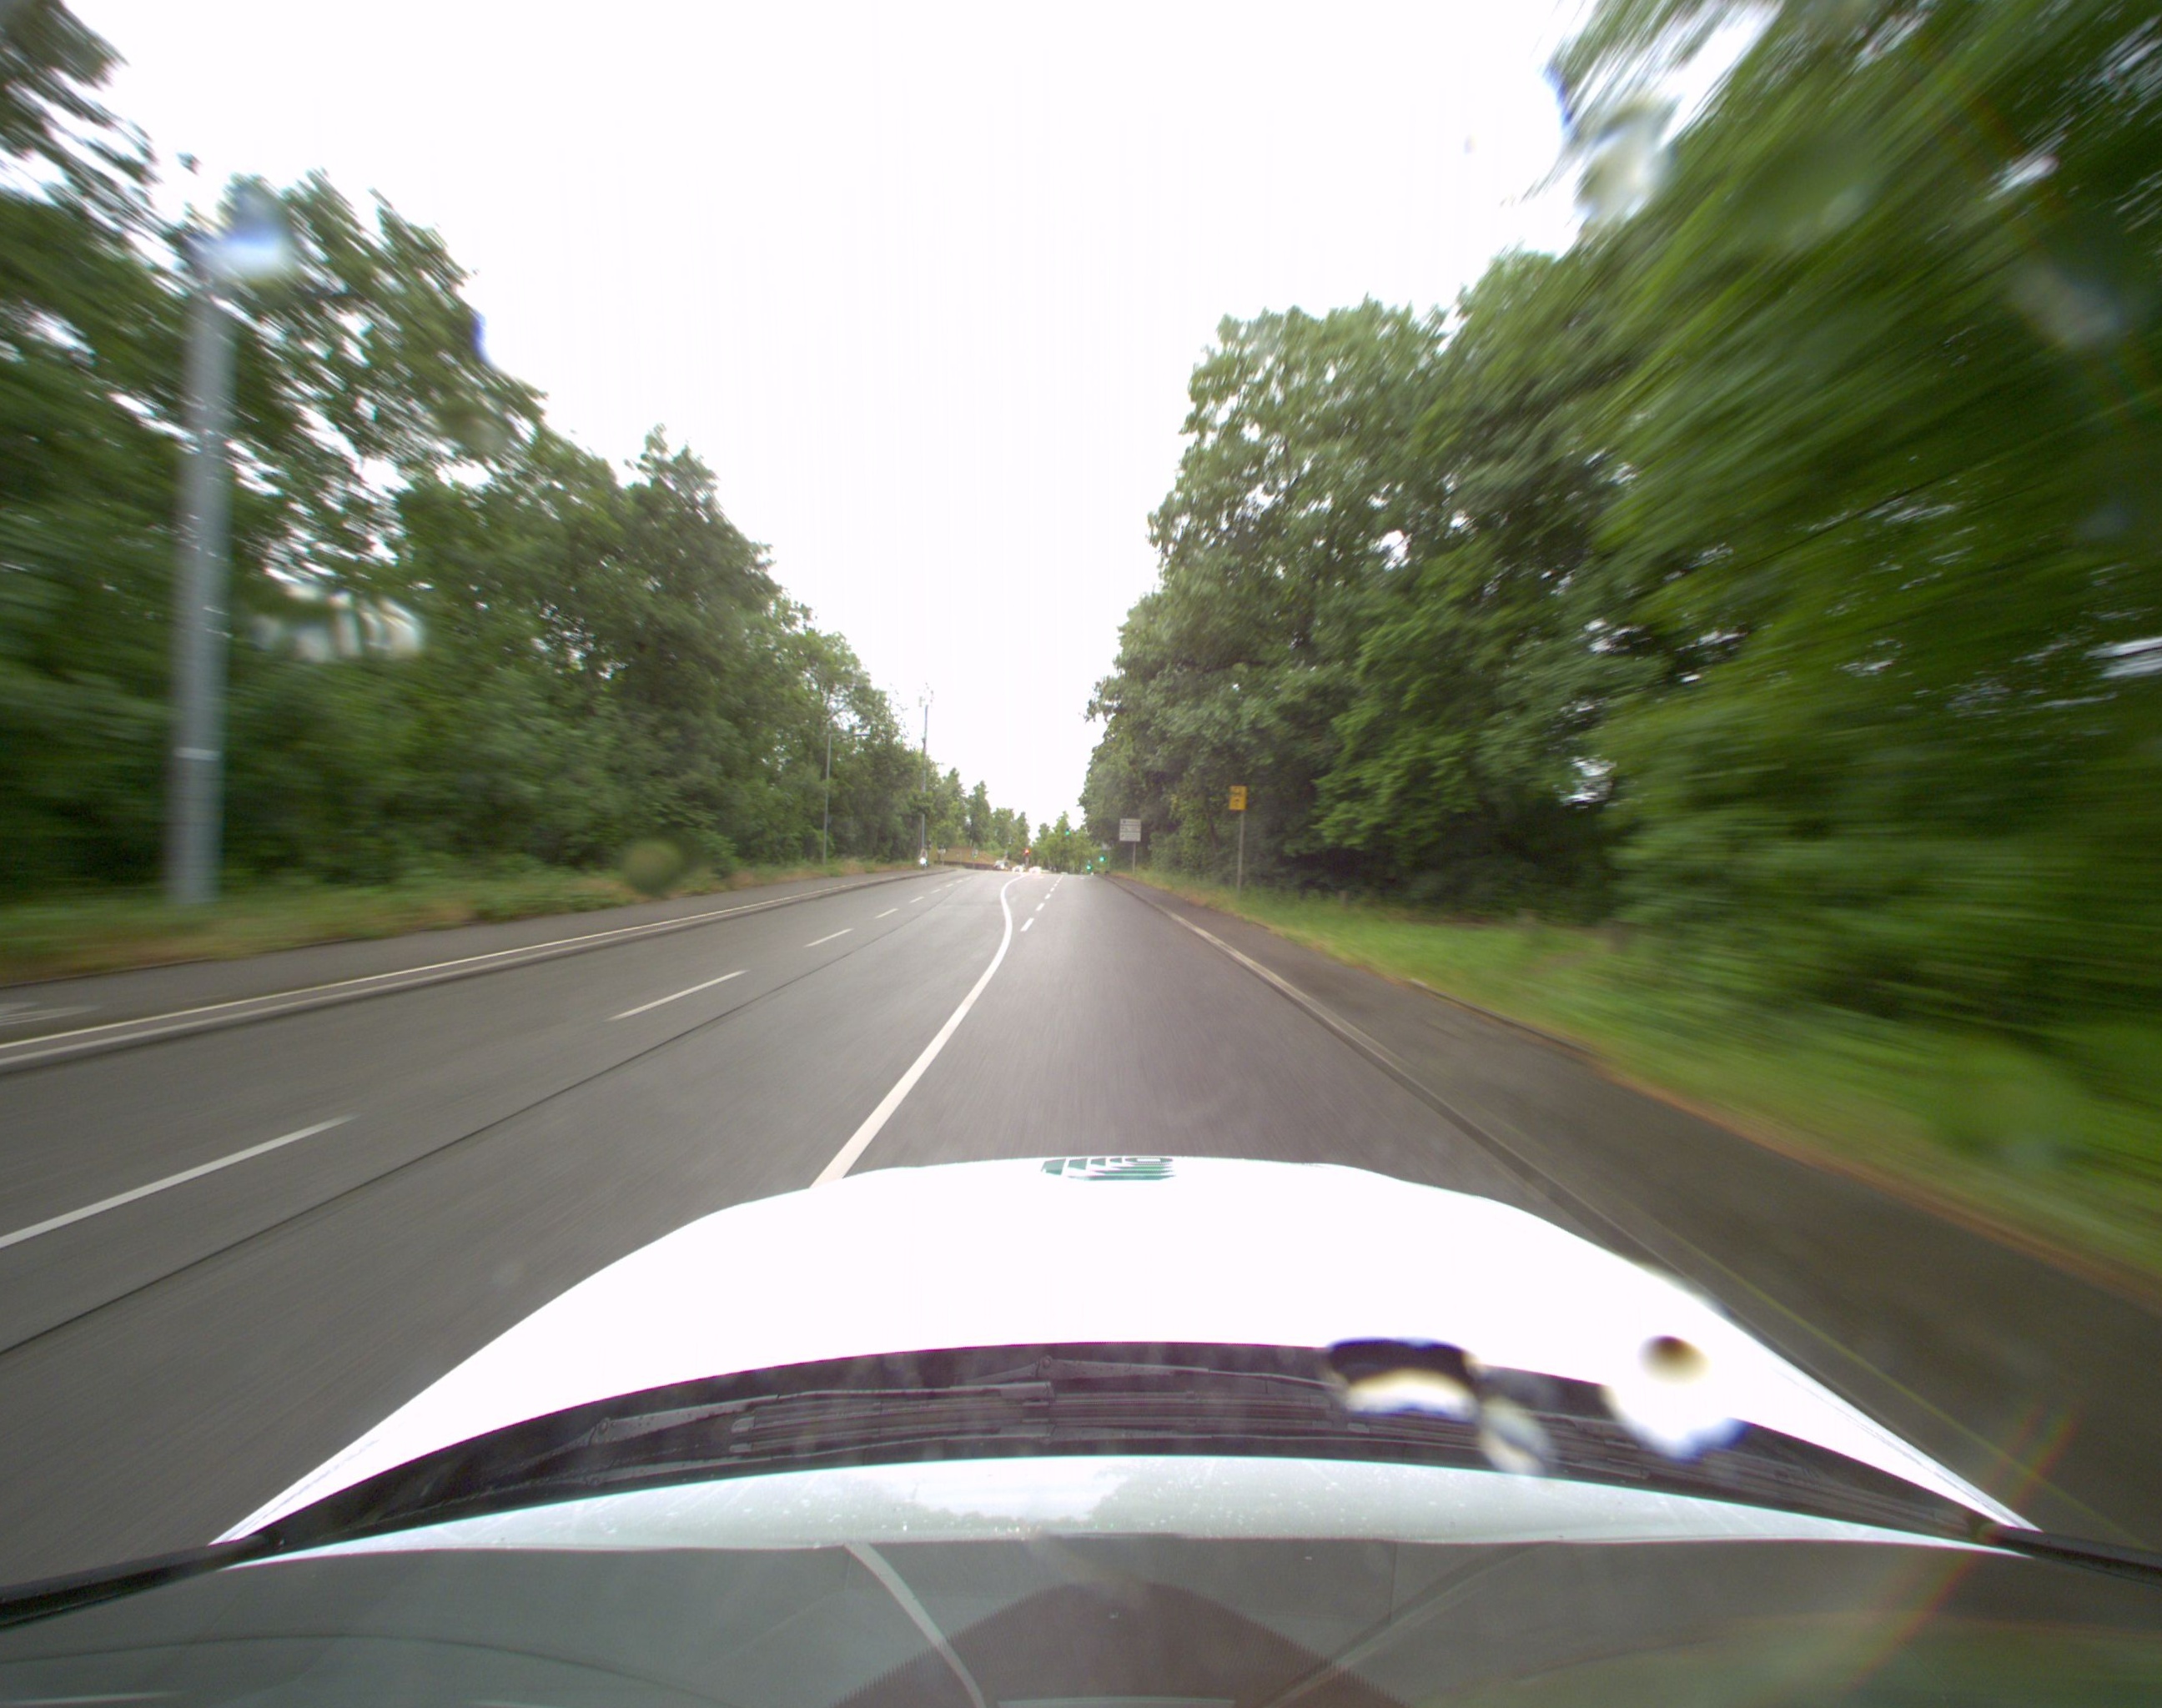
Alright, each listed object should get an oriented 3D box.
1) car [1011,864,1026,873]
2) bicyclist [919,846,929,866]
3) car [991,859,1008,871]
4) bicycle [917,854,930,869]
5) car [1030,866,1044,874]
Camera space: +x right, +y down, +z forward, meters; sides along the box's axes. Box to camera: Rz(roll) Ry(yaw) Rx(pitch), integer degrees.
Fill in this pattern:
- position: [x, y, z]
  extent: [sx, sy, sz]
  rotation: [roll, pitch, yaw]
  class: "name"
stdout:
- position: [-11.385, 2.663, 148.409]
  extent: [1.885, 1.551, 4.011]
  rotation: [-1, -2, 10]
  class: "car"
- position: [-13.099, 0.173, 67.972]
  extent: [0.702, 1.644, 0.951]
  rotation: [0, 0, -1]
  class: "bicyclist"
- position: [-13.226, 1.756, 132.425]
  extent: [1.984, 1.849, 4.004]
  rotation: [0, -2, 4]
  class: "car"
- position: [-13.107, 0.590, 67.963]
  extent: [0.702, 1.242, 2.163]
  rotation: [0, 0, -1]
  class: "bicycle"
- position: [-8.003, 2.911, 147.369]
  extent: [1.887, 1.354, 4.007]
  rotation: [0, -2, 7]
  class: "car"
